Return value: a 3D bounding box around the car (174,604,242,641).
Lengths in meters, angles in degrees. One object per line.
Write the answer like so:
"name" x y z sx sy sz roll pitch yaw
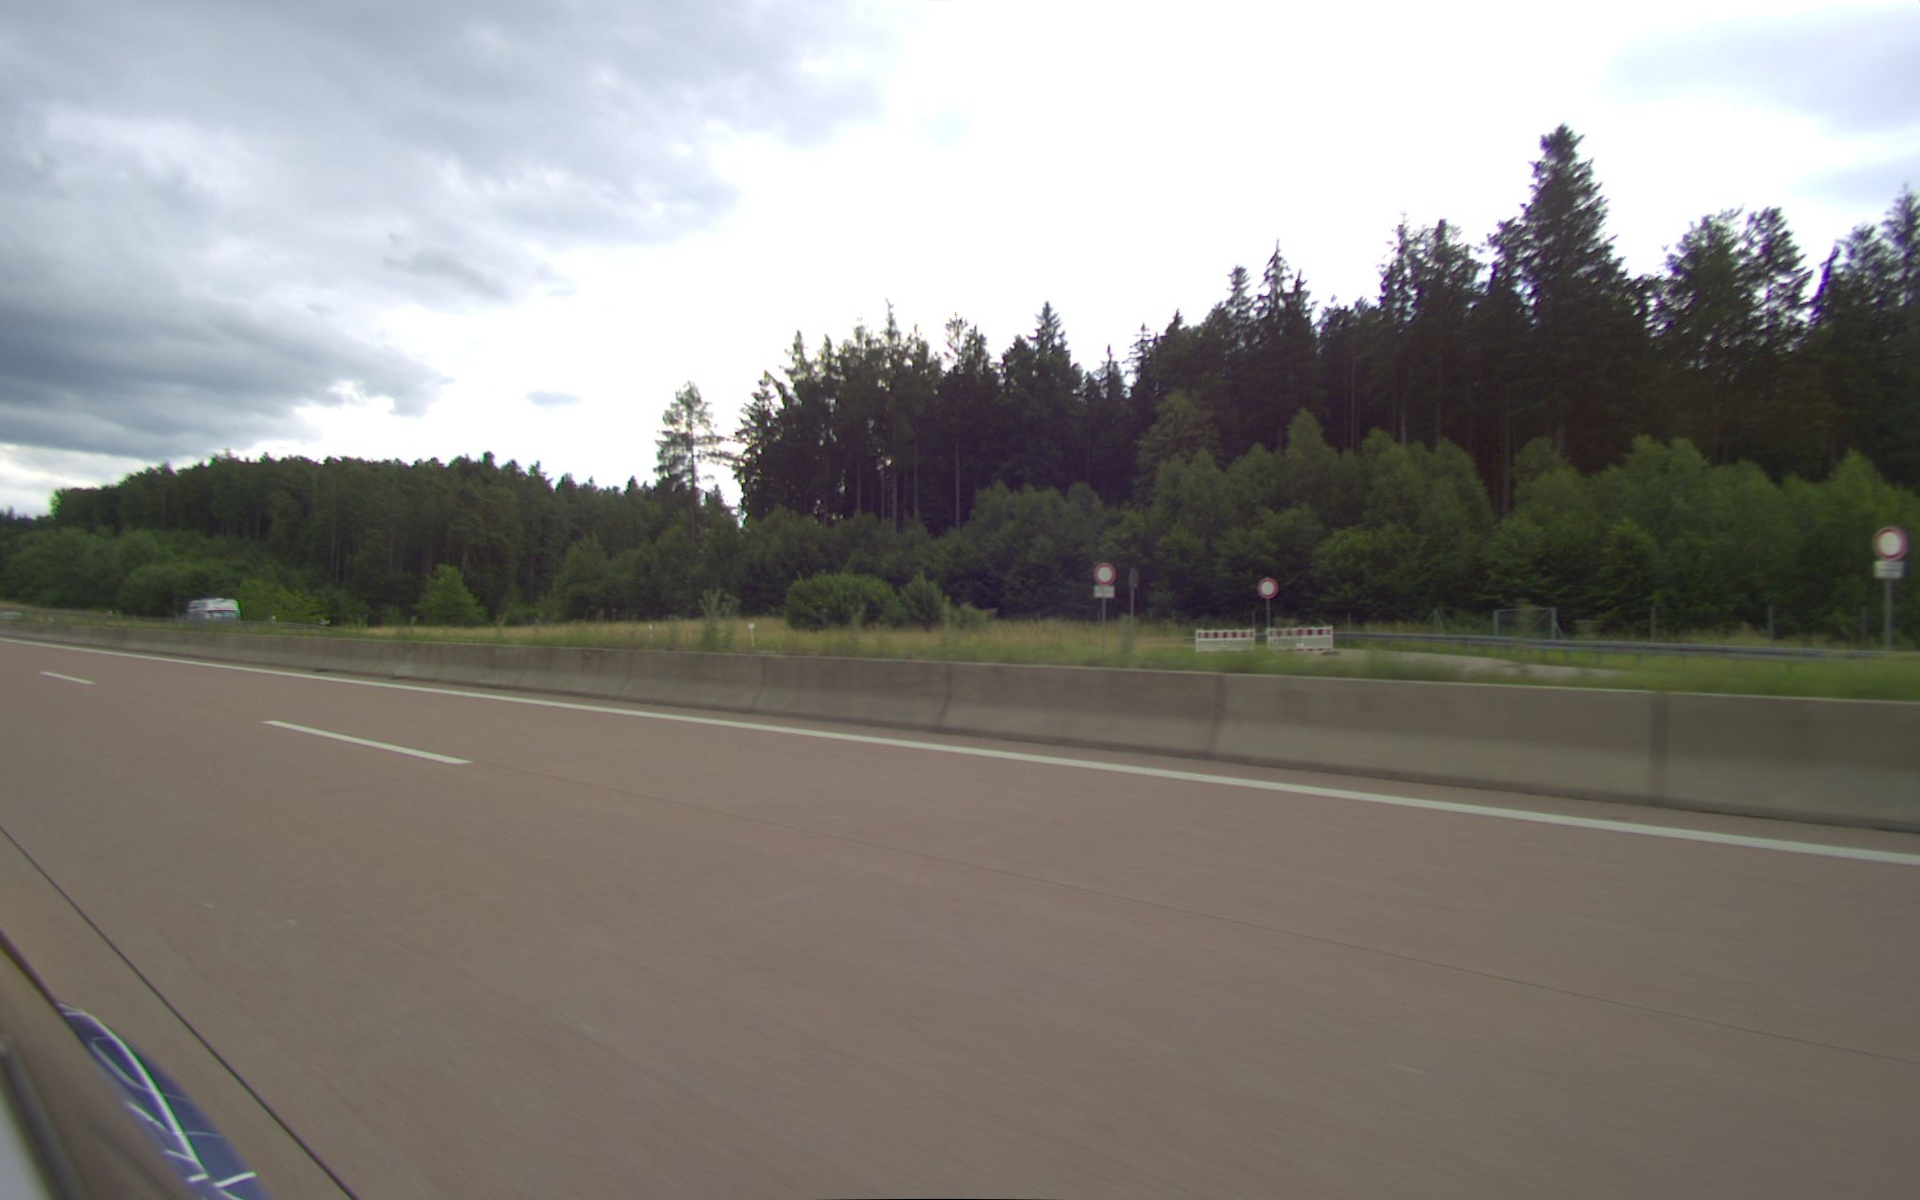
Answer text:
"car" -56.407 1.637 75.857 7.322 2.629 2.435 0 0 39

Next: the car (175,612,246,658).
"car" -45.971 2.067 61.983 6.349 2.629 2.013 0 0 39
